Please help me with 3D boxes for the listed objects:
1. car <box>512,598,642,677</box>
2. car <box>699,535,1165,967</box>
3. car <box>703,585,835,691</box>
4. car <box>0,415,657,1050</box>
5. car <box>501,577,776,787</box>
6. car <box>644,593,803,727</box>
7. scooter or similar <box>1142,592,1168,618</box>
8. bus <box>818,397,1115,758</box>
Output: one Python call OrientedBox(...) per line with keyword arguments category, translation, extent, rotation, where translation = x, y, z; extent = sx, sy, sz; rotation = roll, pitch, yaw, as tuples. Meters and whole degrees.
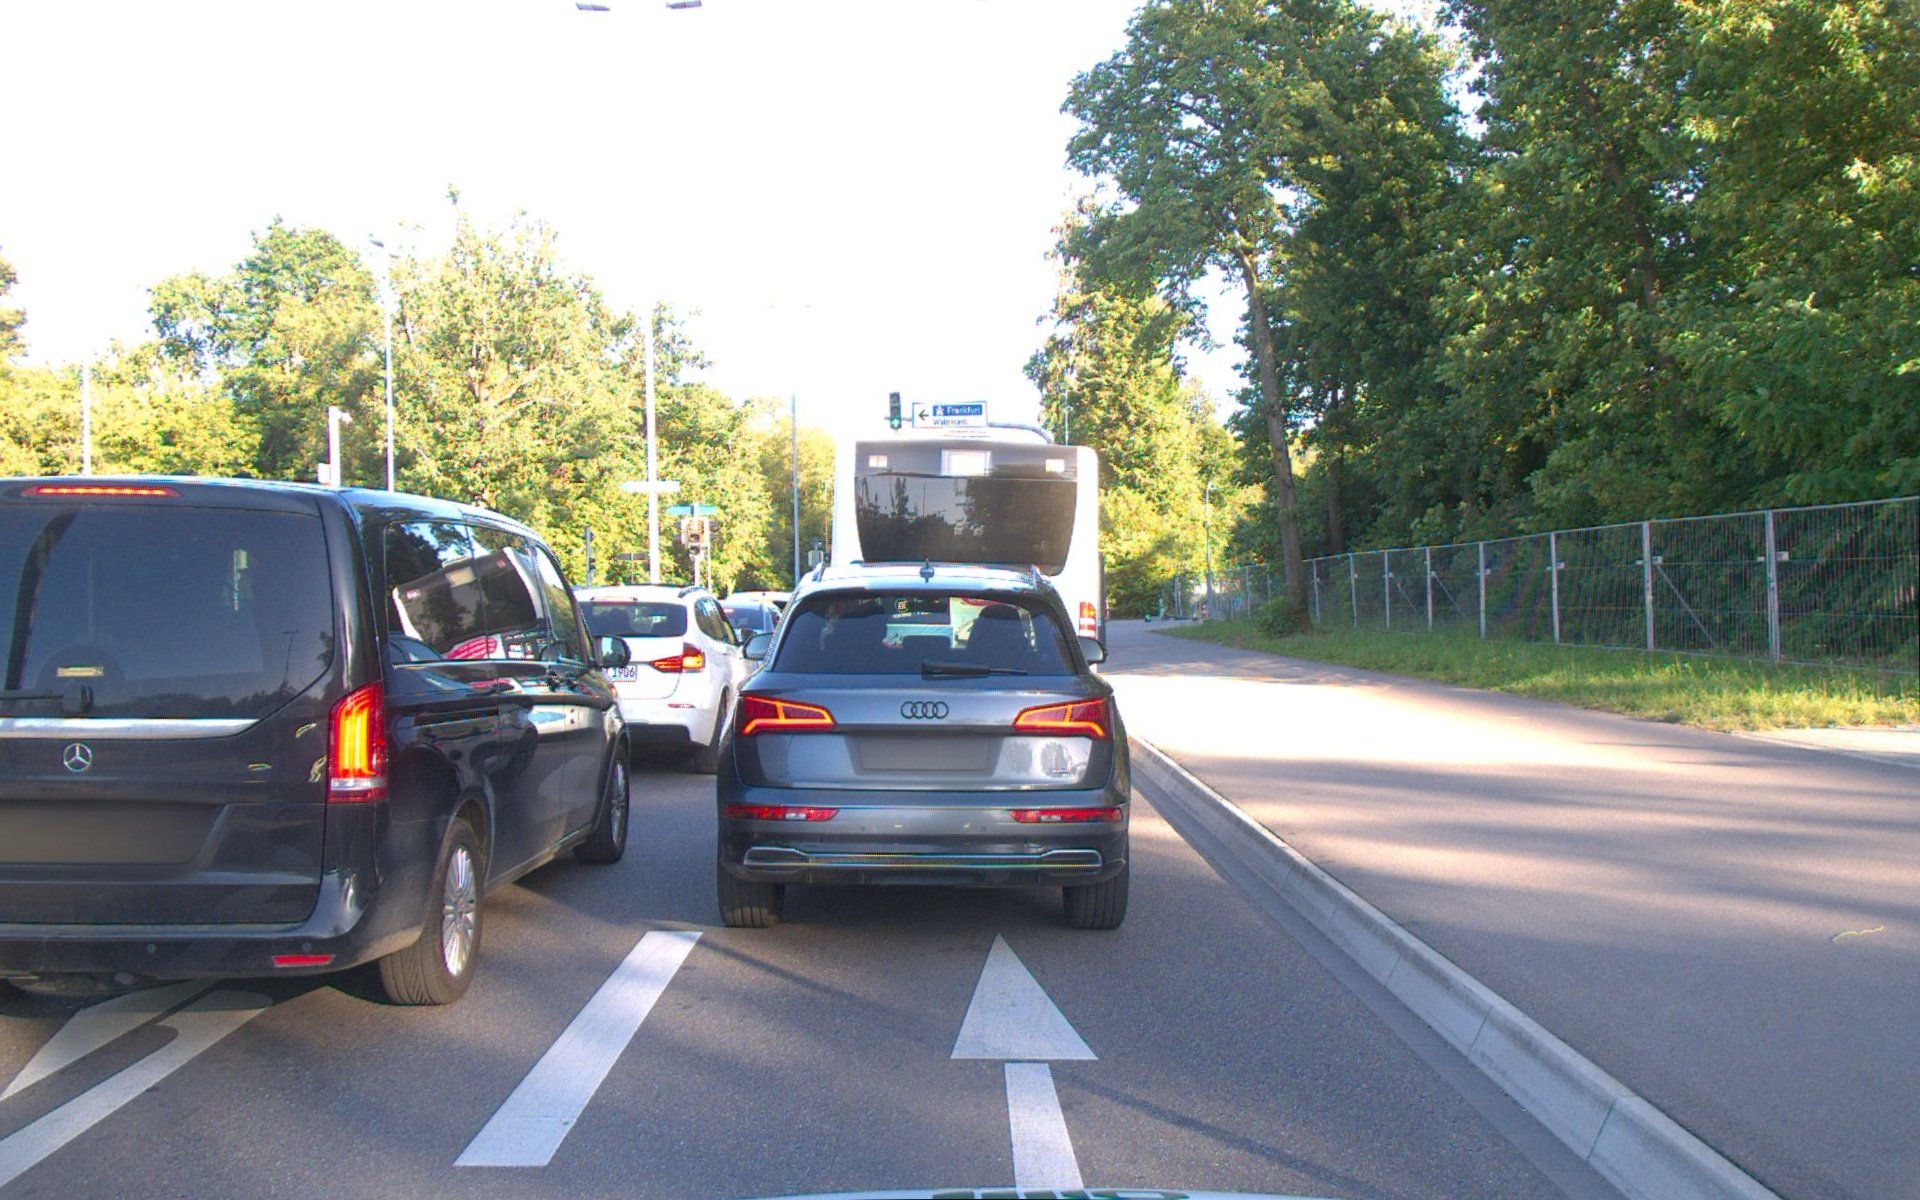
OrientedBox(category="car", translation=(-7.403, 0.695, 32.318), extent=(1.567, 1.420, 3.844), rotation=(1, 0, 1))
OrientedBox(category="car", translation=(-0.137, 0.577, 8.581), extent=(1.830, 1.693, 4.000), rotation=(1, 1, -1))
OrientedBox(category="car", translation=(-3.120, 0.580, 27.688), extent=(1.771, 1.599, 4.000), rotation=(1, 1, -1))
OrientedBox(category="car", translation=(-2.707, 0.400, 7.390), extent=(1.868, 1.888, 4.872), rotation=(1, 0, -1))
OrientedBox(category="car", translation=(-2.746, 0.626, 15.086), extent=(1.683, 1.608, 4.433), rotation=(1, 0, -1))
OrientedBox(category="car", translation=(-2.930, 0.688, 21.244), extent=(1.750, 1.469, 4.274), rotation=(1, 1, -5))
OrientedBox(category="scooter or similar", translation=(9.205, 0.249, 78.089), extent=(1.158, 1.195, 0.659), rotation=(1, 0, 11))
OrientedBox(category="bus", translation=(0.081, -0.238, 17.802), extent=(2.623, 3.196, 5.882), rotation=(1, 1, 0))
